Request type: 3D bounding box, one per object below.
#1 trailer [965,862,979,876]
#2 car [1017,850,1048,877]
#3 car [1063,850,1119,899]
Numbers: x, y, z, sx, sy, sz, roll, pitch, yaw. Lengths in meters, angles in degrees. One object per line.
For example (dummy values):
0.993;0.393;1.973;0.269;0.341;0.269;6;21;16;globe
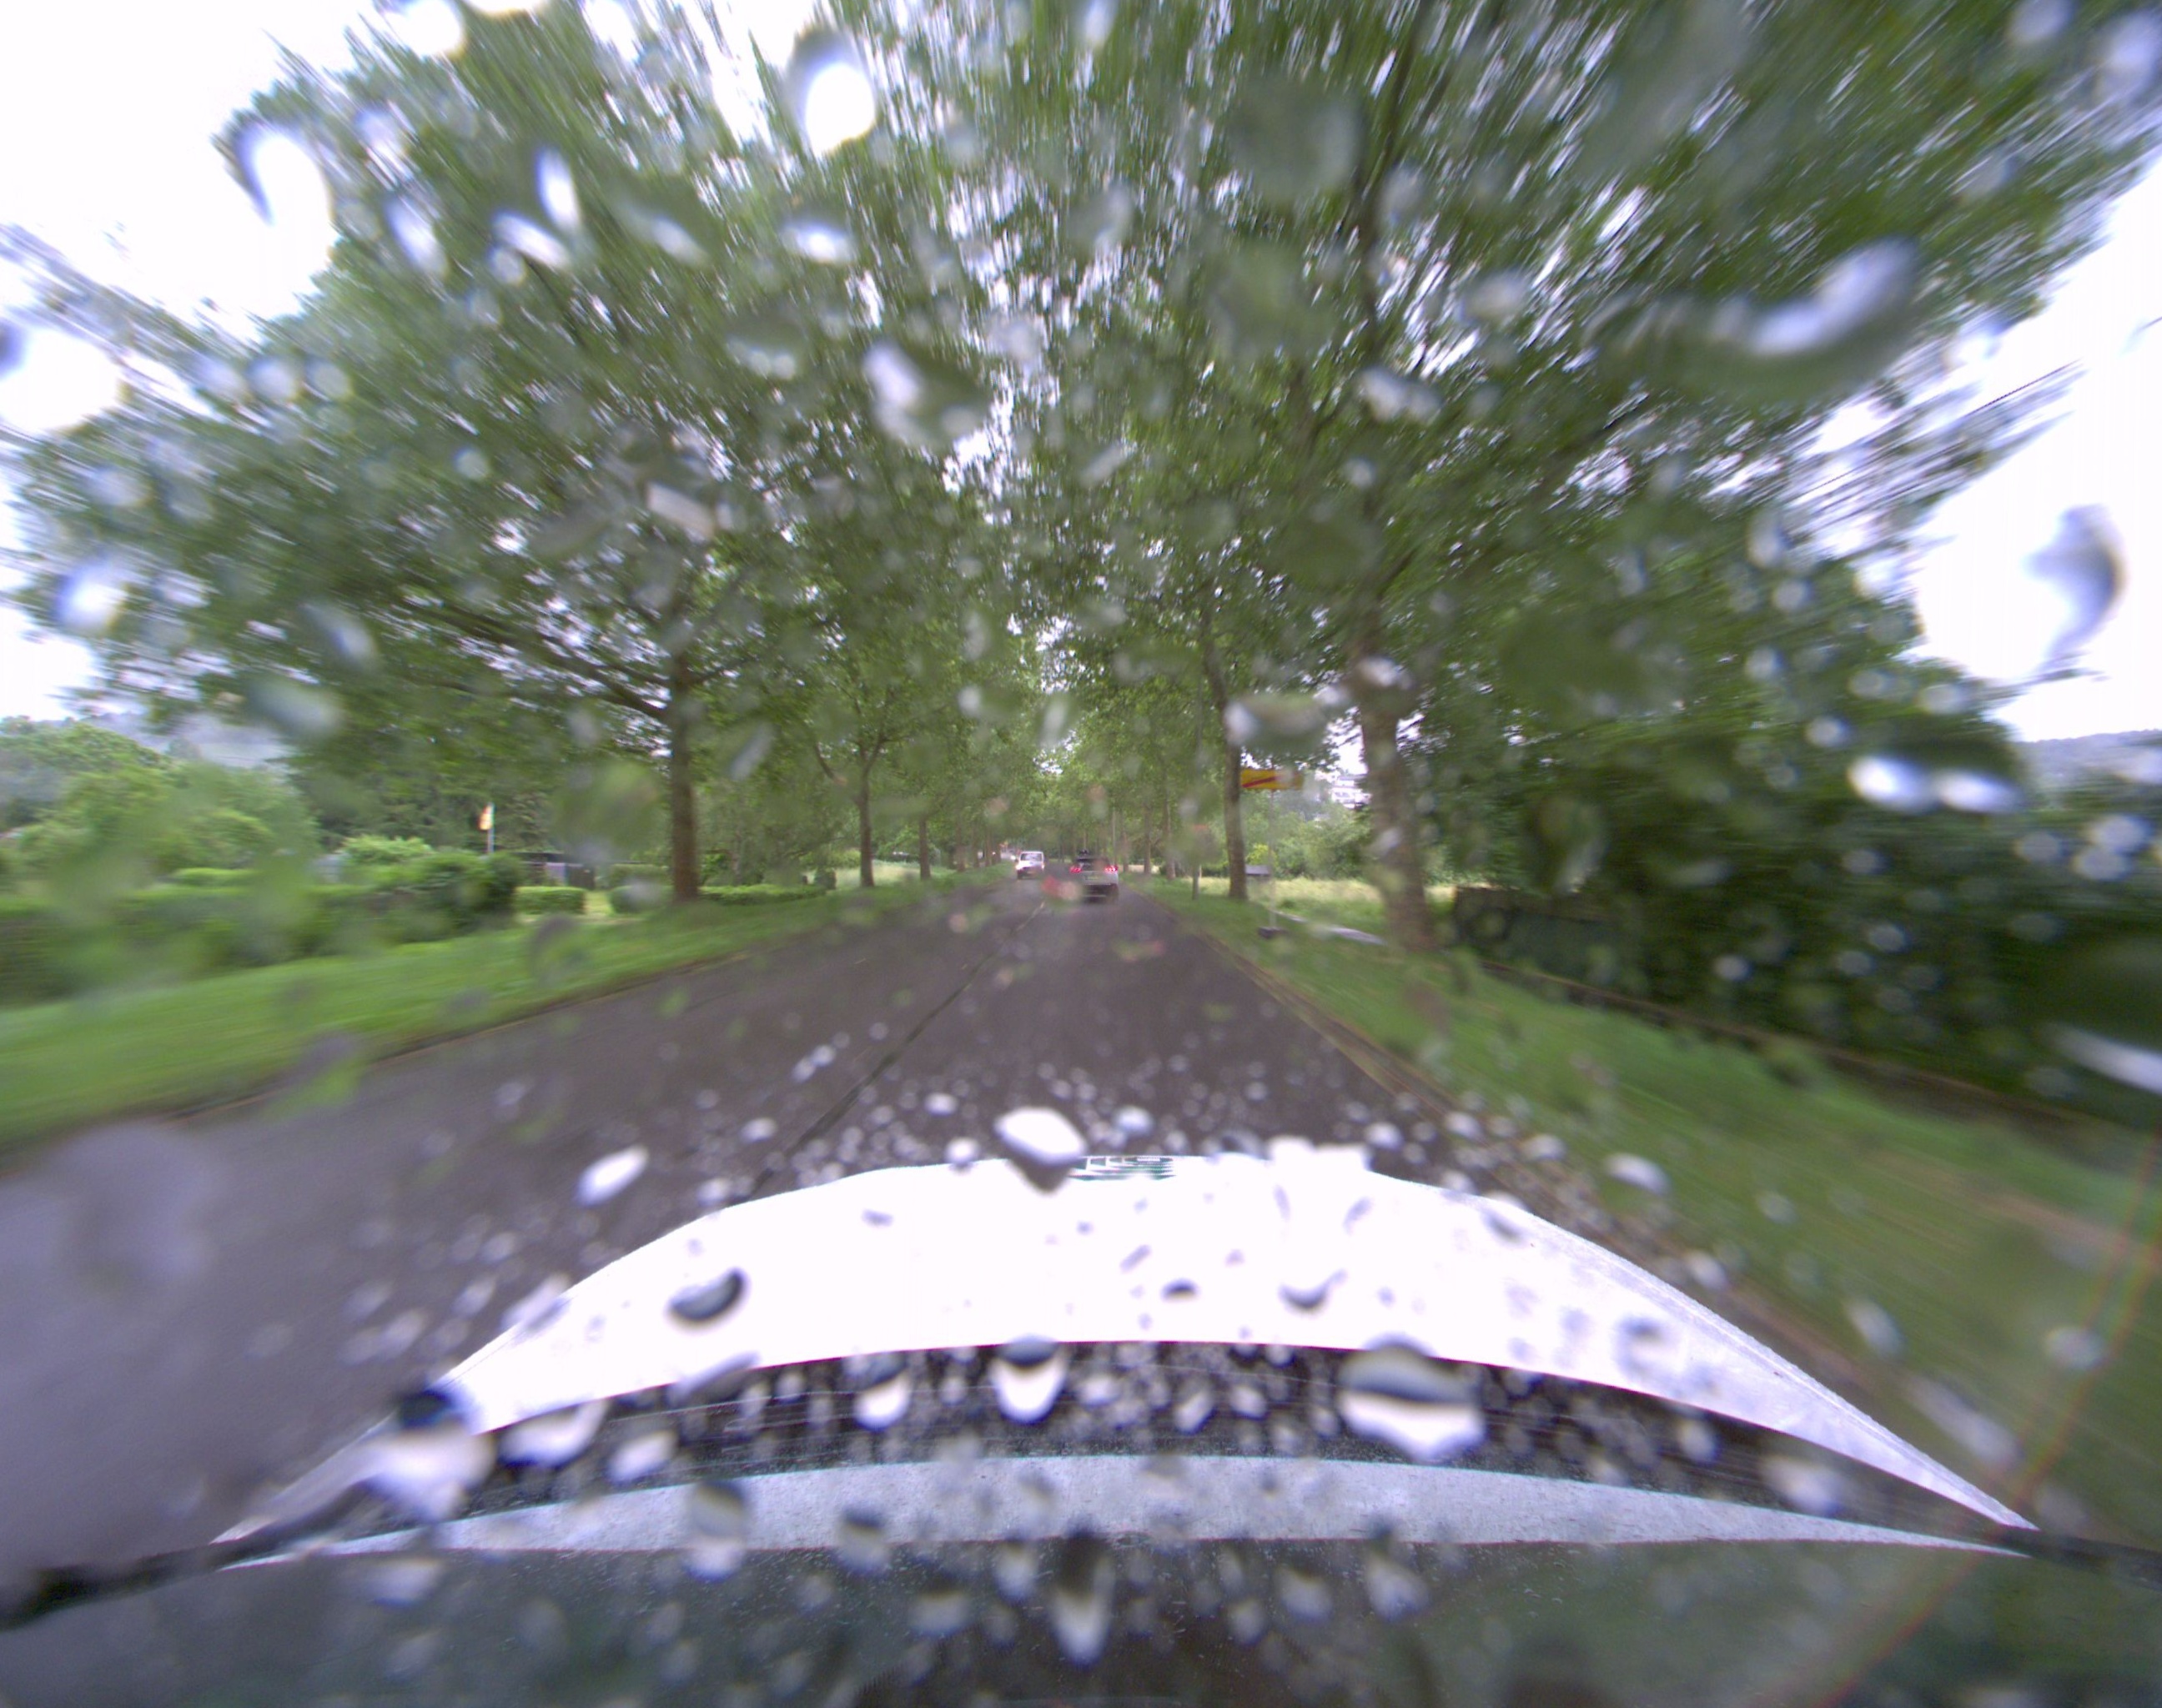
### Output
-21.340;2.971;159.937;2.482;2.567;5.321;1;0;-6;trailer
-3.306;0.624;56.694;1.857;1.750;5.014;1;0;-1;car
0.428;0.666;28.791;1.786;1.578;3.847;1;0;3;car
